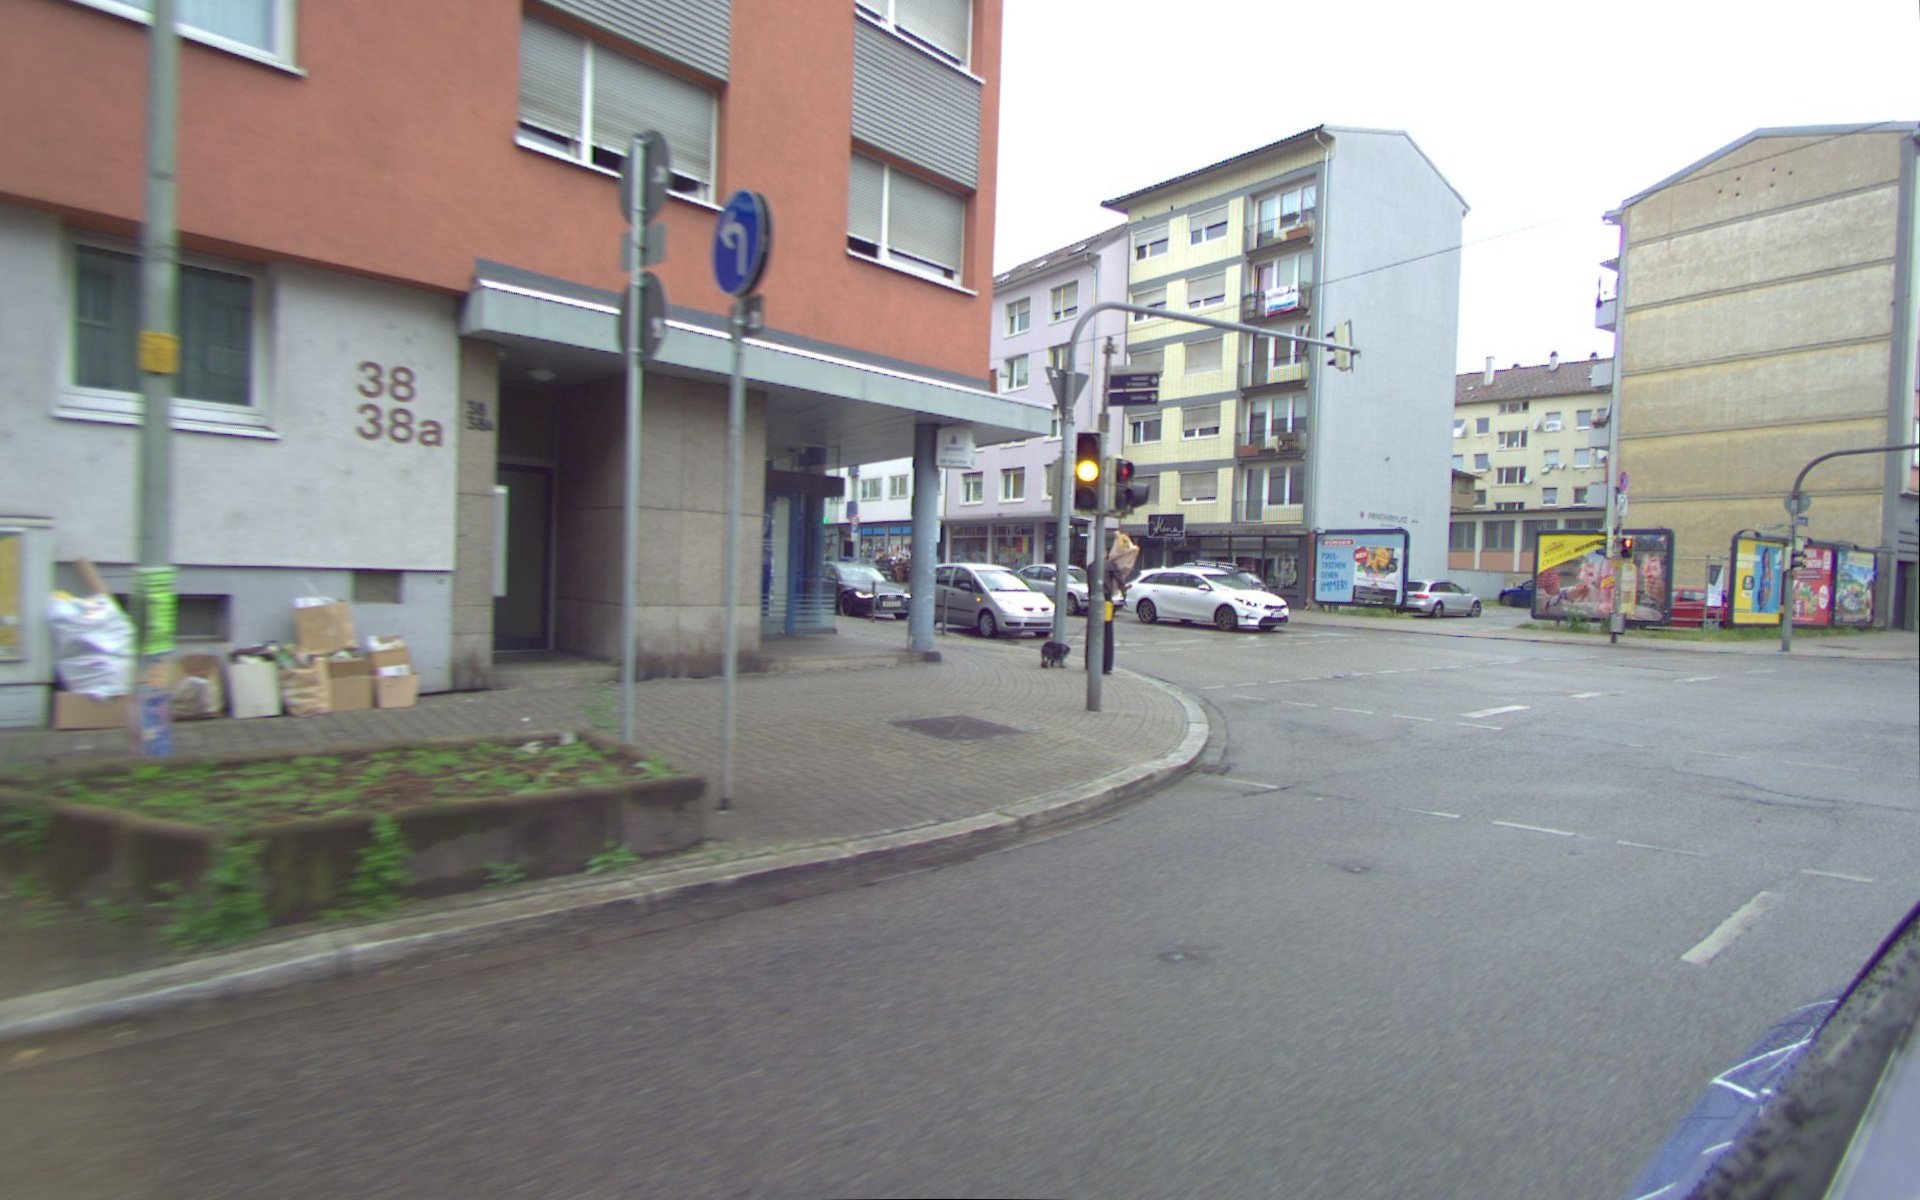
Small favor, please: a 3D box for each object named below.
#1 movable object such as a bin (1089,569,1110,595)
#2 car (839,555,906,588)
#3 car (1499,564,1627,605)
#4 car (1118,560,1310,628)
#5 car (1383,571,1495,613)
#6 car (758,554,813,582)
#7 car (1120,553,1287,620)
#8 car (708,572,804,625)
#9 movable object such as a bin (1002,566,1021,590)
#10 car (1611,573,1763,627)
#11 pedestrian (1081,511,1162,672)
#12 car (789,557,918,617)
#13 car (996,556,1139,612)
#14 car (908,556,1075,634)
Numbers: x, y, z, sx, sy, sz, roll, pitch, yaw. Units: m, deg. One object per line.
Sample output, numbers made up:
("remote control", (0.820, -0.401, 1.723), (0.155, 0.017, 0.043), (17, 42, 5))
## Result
("movable object such as a bin", (6.314, -0.812, 45.809), (0.684, 1.152, 0.641), (1, 0, -34))
("car", (-4.789, -1.551, 54.796), (1.951, 1.638, 4.132), (1, 2, -31))
("car", (26.821, -0.662, 45.240), (2.110, 1.710, 4.789), (1, 0, -15))
("car", (6.397, -0.211, 26.014), (1.884, 1.504, 4.667), (0, 3, -36))
("car", (18.098, -0.304, 38.178), (4.248, 1.458, 1.882), (1, 2, -34))
("car", (-11.150, -2.068, 64.415), (1.952, 1.638, 4.131), (1, 2, -33))
("car", (7.792, -0.480, 32.724), (4.885, 1.893, 1.995), (4, 0, 44))
("car", (-6.951, -0.098, 34.119), (1.722, 1.561, 4.256), (0, 3, -33))
("movable object such as a bin", (2.586, -1.087, 50.703), (0.684, 1.201, 0.707), (1, 0, -34))
("car", (23.921, -0.034, 33.369), (2.051, 1.570, 3.661), (0, 2, -40))
("pedestrian", (2.271, -0.119, 14.258), (0.755, 2.185, 0.828), (1, 0, -34))
("car", (-3.023, -0.403, 27.787), (1.636, 1.442, 4.386), (0, 3, -34))
("car", (3.166, -0.518, 30.718), (1.810, 1.504, 4.527), (0, 3, -34))
("car", (0.594, -0.174, 22.408), (1.670, 1.504, 3.961), (0, 3, -34))
